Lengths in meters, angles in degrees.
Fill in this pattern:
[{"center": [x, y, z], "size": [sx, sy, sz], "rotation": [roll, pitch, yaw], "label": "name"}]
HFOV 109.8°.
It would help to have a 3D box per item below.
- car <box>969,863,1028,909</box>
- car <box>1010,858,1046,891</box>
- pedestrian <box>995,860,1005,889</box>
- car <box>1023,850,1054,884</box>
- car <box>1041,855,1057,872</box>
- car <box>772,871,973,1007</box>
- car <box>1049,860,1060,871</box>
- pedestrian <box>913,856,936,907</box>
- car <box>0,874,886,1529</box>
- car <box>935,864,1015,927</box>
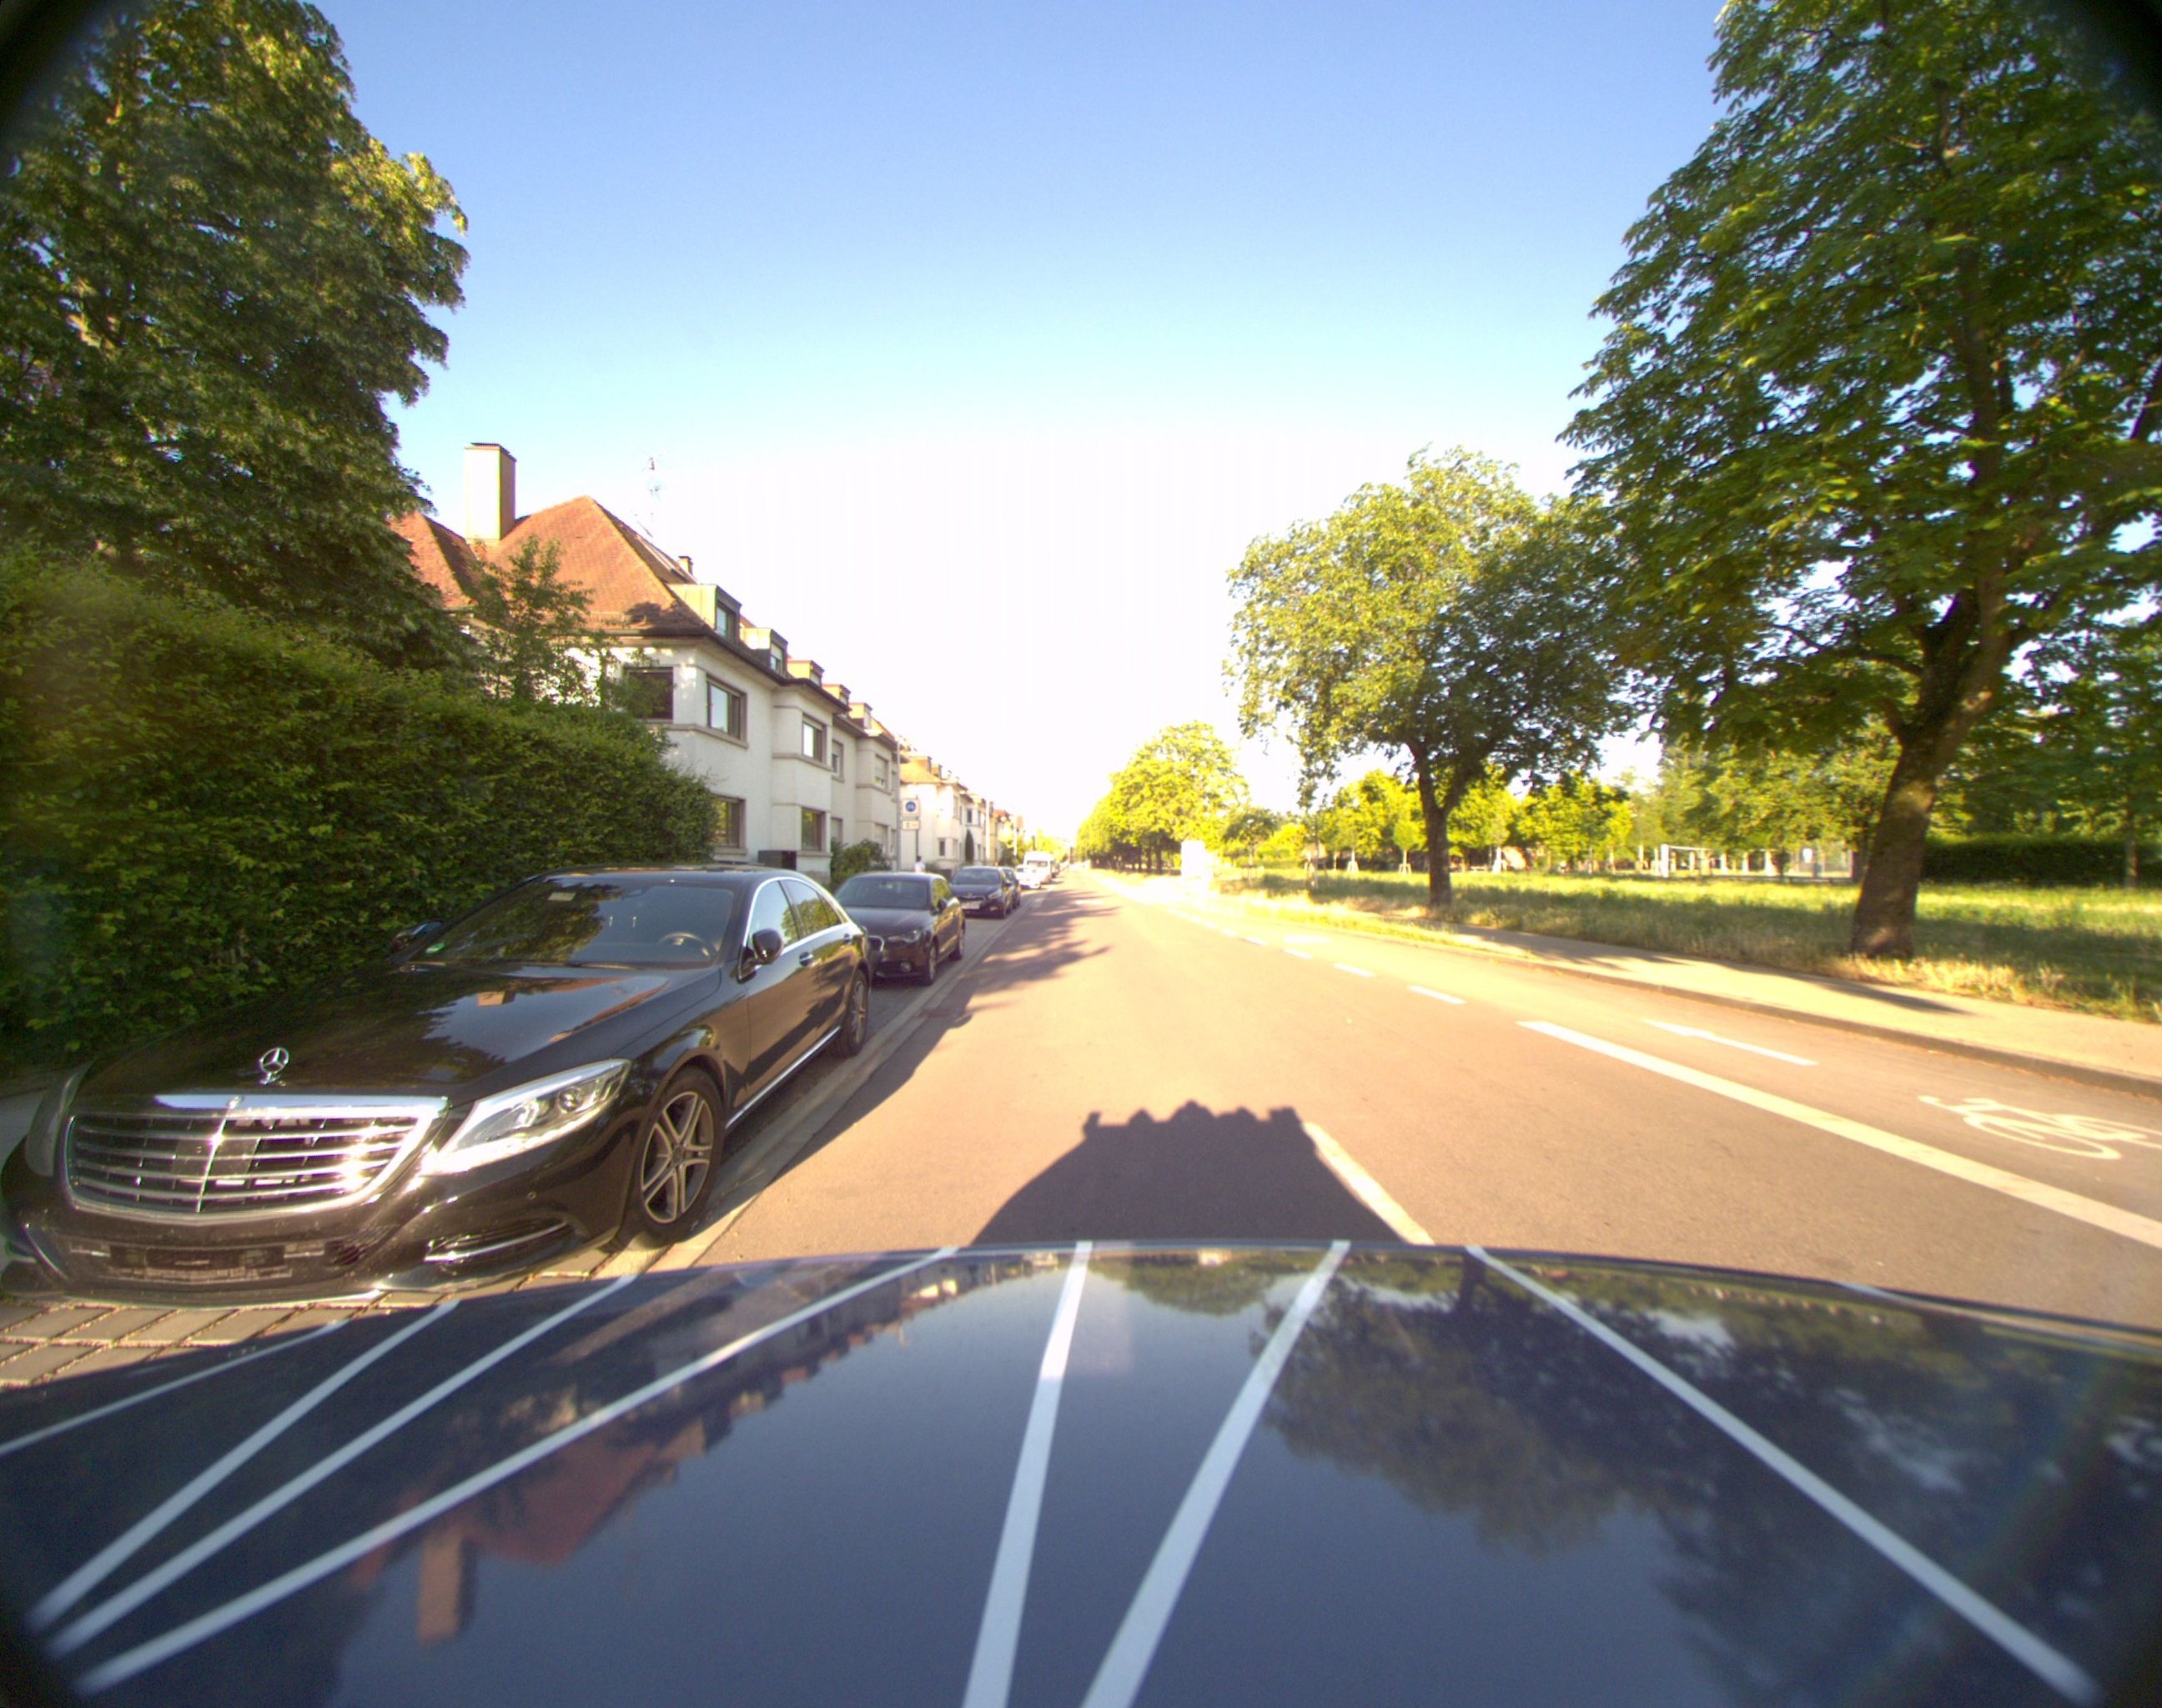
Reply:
[{"center": [-2.930, 1.120, 27.659], "size": [1.680, 1.525, 3.472], "rotation": [-2, -1, 1], "label": "car"}, {"center": [-3.205, 1.211, 46.615], "size": [1.999, 1.775, 3.999], "rotation": [-2, 1, -1], "label": "car"}, {"center": [-5.030, 1.279, 47.097], "size": [0.531, 1.787, 0.589], "rotation": [-2, 1, -2], "label": "pedestrian"}, {"center": [-3.289, 0.956, 59.752], "size": [2.132, 2.461, 5.723], "rotation": [-2, 1, -1], "label": "car"}, {"center": [-3.736, 1.126, 88.928], "size": [1.708, 1.848, 3.712], "rotation": [-2, 1, 0], "label": "car"}, {"center": [-2.696, 1.026, 10.799], "size": [1.784, 1.469, 4.000], "rotation": [-2, -1, -1], "label": "car"}, {"center": [-4.110, 1.727, 117.144], "size": [1.682, 1.543, 3.842], "rotation": [1, 0, -3], "label": "car"}, {"center": [-5.841, 1.026, 28.389], "size": [0.587, 1.835, 0.823], "rotation": [-2, 1, 1], "label": "pedestrian"}, {"center": [-2.623, 0.915, 4.305], "size": [2.009, 1.489, 4.914], "rotation": [1, 0, -3], "label": "car"}, {"center": [-2.965, 1.118, 22.039], "size": [1.796, 1.586, 4.077], "rotation": [-2, -1, -1], "label": "car"}]
